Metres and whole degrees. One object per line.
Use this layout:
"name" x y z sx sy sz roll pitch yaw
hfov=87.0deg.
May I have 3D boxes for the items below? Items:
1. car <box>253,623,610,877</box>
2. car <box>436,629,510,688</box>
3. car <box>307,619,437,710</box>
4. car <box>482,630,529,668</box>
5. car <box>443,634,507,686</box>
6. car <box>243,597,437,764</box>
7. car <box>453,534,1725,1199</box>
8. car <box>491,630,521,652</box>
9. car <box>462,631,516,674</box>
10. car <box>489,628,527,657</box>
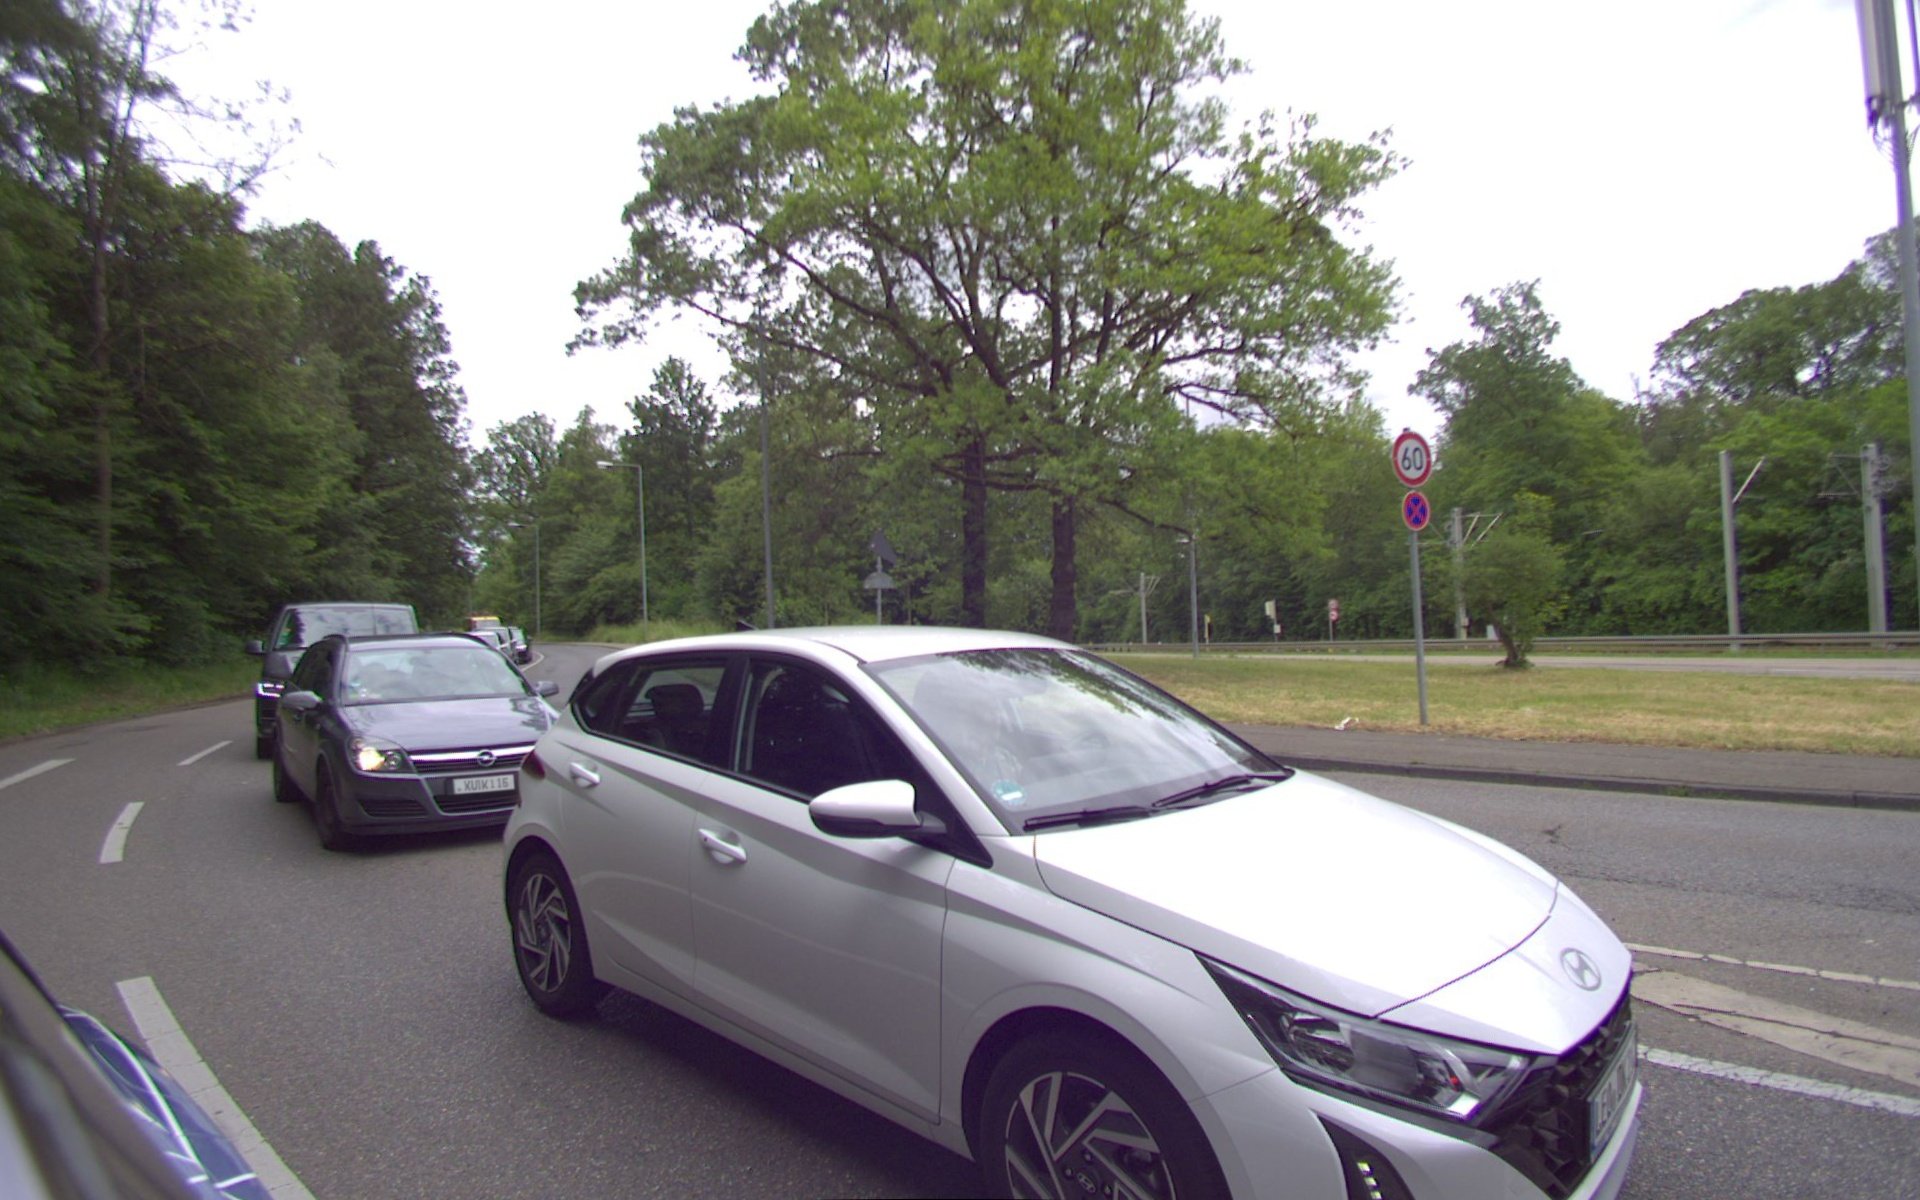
"car" -4.582 0.987 8.369 1.775 1.490 4.478 0 -2 -39
"car" -13.651 1.594 28.447 1.748 1.511 3.885 0 -2 -25
"car" -12.333 1.292 21.460 1.763 1.686 4.003 -1 -1 -21
"car" -19.396 2.072 43.135 1.748 1.511 3.885 0 -2 -25
"car" -15.401 1.862 32.229 1.748 1.511 3.885 0 -2 -25
"car" -8.399 0.987 13.966 1.957 1.887 4.545 0 -2 -29
"car" -0.078 0.729 3.424 4.073 1.490 1.631 -3 -2 43
"car" -31.839 2.866 70.981 1.749 1.511 3.885 -1 -2 -22
"car" -17.784 1.964 38.254 1.748 1.511 3.885 0 -2 -25
"car" -25.423 2.393 57.005 1.749 1.511 3.885 -1 -2 -22
